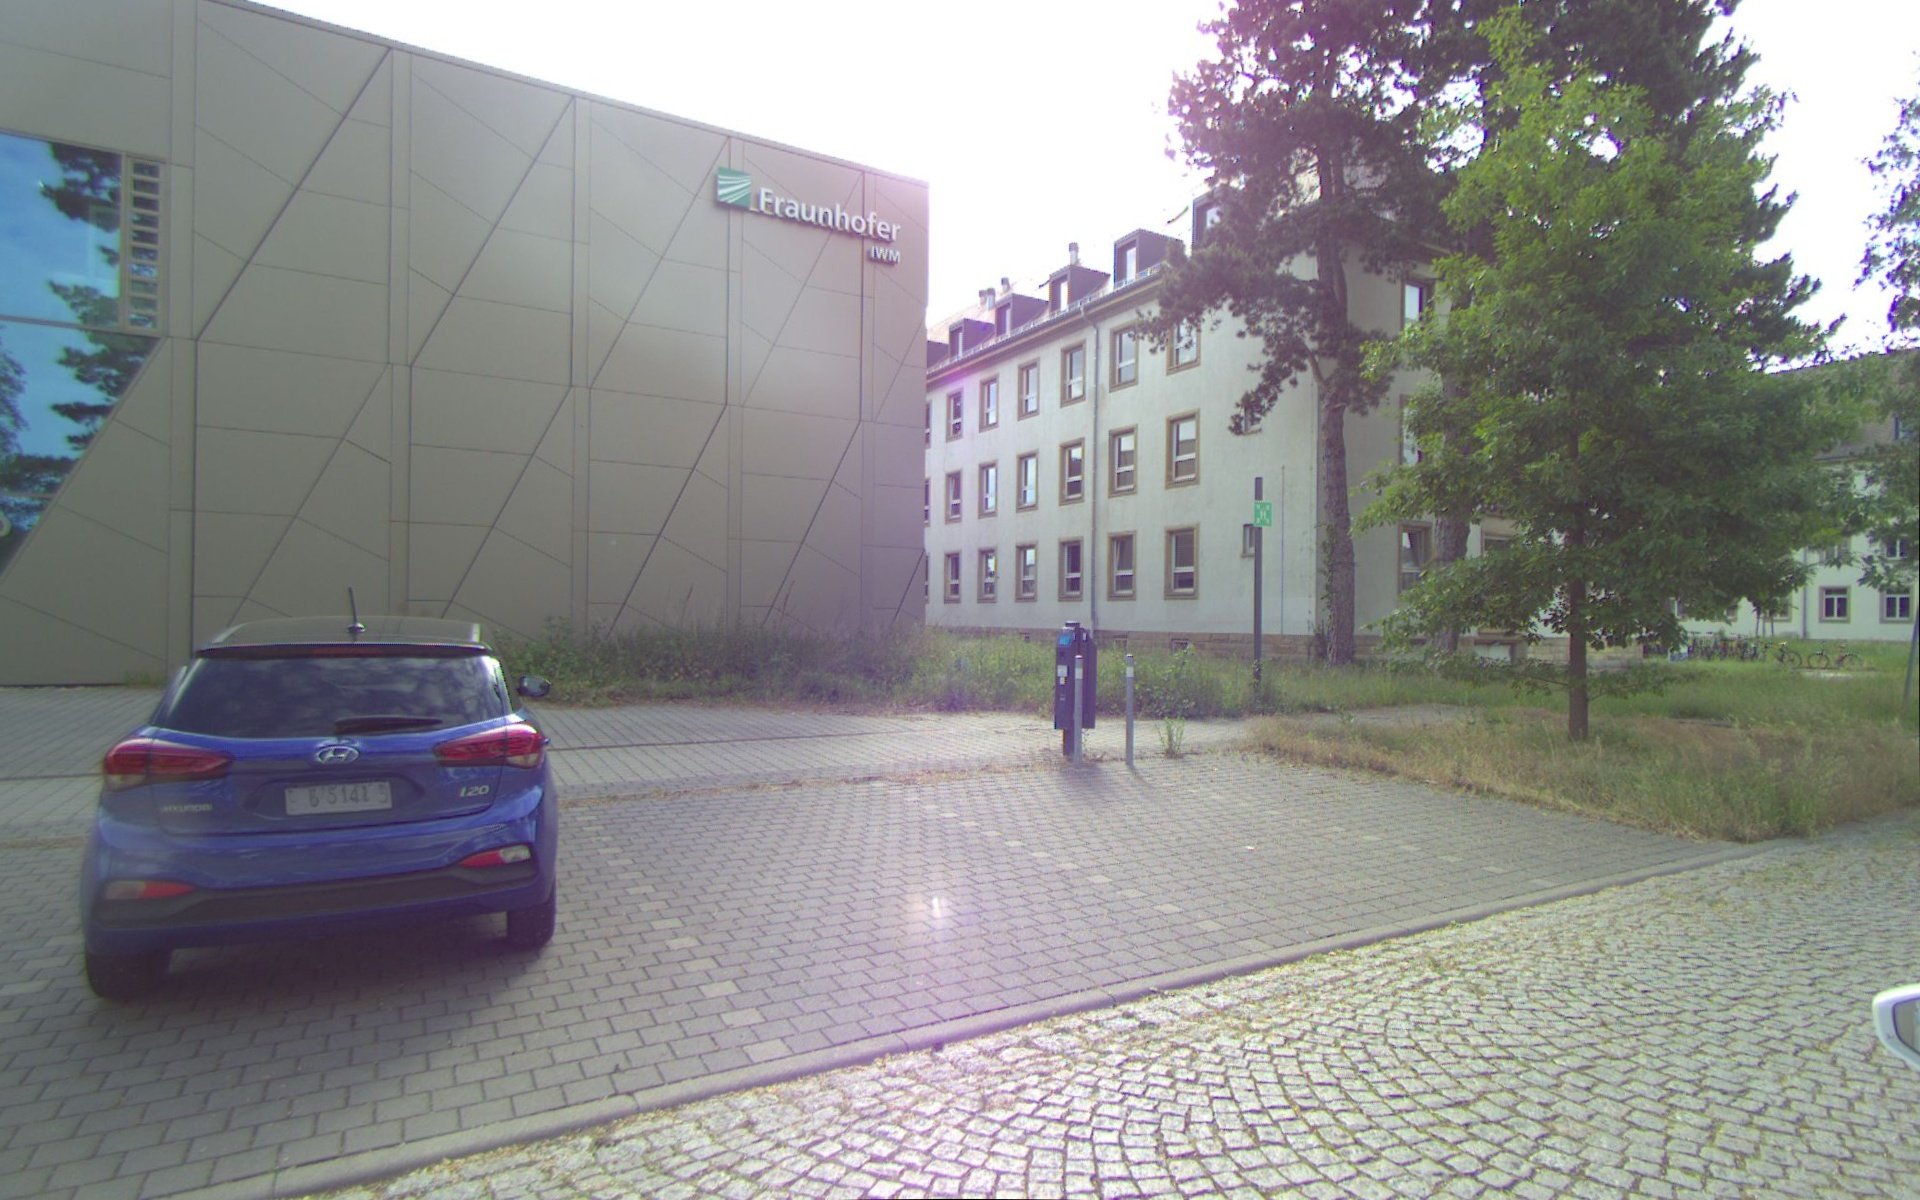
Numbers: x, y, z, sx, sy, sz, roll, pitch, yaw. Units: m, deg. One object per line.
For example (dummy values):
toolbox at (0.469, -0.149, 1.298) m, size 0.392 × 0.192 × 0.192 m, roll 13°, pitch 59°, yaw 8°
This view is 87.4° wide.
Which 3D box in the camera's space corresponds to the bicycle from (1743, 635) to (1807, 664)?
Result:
bicycle at (32.479, 1.970, 40.036) m, size 0.729 × 1.090 × 1.849 m, roll 1°, pitch -1°, yaw -27°

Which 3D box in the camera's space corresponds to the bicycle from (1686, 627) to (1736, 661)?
bicycle at (32.392, 1.896, 43.311) m, size 2.679 × 1.404 × 0.732 m, roll 1°, pitch -1°, yaw -30°

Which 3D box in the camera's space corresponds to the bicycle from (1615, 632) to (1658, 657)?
bicycle at (30.795, 2.012, 45.713) m, size 2.246 × 1.090 × 0.732 m, roll 1°, pitch -1°, yaw -30°

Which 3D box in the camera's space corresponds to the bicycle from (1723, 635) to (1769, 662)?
bicycle at (32.825, 2.021, 41.962) m, size 2.246 × 1.090 × 0.732 m, roll 1°, pitch -1°, yaw -30°

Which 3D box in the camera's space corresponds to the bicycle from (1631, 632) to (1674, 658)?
bicycle at (31.072, 2.012, 45.054) m, size 2.246 × 1.090 × 0.732 m, roll 1°, pitch -1°, yaw -30°

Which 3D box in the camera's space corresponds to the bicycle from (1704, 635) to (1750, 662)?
bicycle at (32.447, 2.031, 42.482) m, size 2.246 × 1.090 × 0.732 m, roll 1°, pitch -1°, yaw -30°

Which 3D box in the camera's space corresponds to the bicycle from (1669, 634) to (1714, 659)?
bicycle at (32.096, 2.038, 44.064) m, size 2.246 × 1.090 × 0.732 m, roll 1°, pitch -1°, yaw -30°

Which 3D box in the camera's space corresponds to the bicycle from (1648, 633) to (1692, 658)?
bicycle at (31.365, 2.007, 44.379) m, size 2.246 × 1.090 × 0.732 m, roll 1°, pitch -1°, yaw -30°

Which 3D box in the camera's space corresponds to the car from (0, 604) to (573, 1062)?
car at (-3.297, 0.820, 5.514) m, size 1.828 × 1.498 × 3.752 m, roll 1°, pitch 0°, yaw -27°

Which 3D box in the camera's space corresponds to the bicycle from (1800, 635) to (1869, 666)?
bicycle at (33.424, 1.917, 38.410) m, size 0.821 × 1.090 × 1.849 m, roll 1°, pitch -1°, yaw -27°
